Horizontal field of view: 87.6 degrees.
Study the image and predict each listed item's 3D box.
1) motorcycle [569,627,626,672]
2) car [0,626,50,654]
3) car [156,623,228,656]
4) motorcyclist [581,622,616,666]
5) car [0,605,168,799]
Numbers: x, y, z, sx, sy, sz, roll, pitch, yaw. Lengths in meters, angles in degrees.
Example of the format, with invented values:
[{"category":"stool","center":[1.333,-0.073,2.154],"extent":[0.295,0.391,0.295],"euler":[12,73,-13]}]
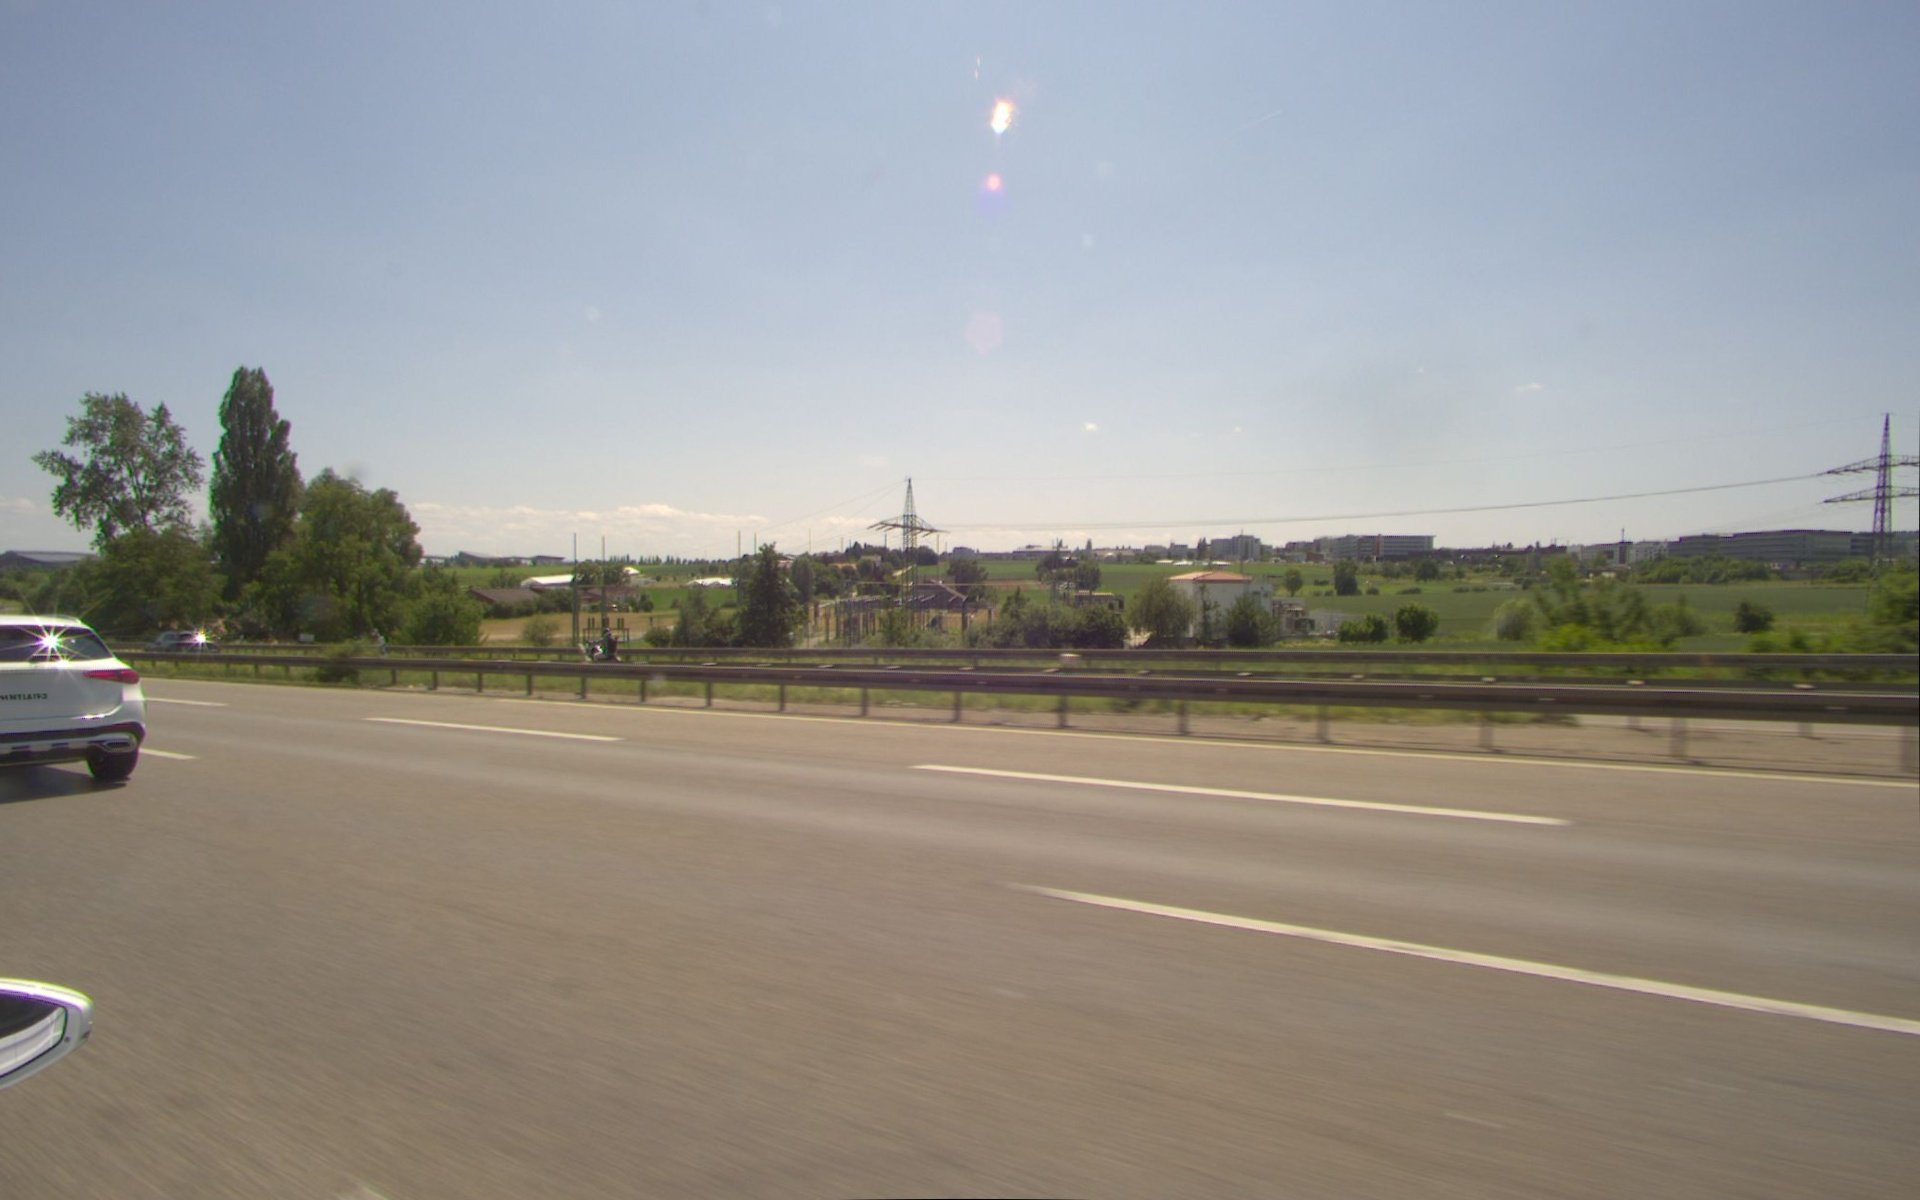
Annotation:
[{"category":"motorcycle","center":[-11.554,1.569,31.918],"extent":[1.843,1.384,0.758],"euler":[-1,-1,33]},{"category":"car","center":[-65.611,2.775,70.128],"extent":[4.122,1.948,1.934],"euler":[-1,-1,34]},{"category":"car","center":[-38.770,1.974,50.522],"extent":[4.071,1.595,1.696],"euler":[-1,-1,34]},{"category":"motorcyclist","center":[-11.503,1.394,31.886],"extent":[0.866,1.384,0.667],"euler":[-1,-1,32]},{"category":"car","center":[-10.251,0.932,10.159],"extent":[4.925,1.668,1.895],"euler":[-1,-1,31]}]
